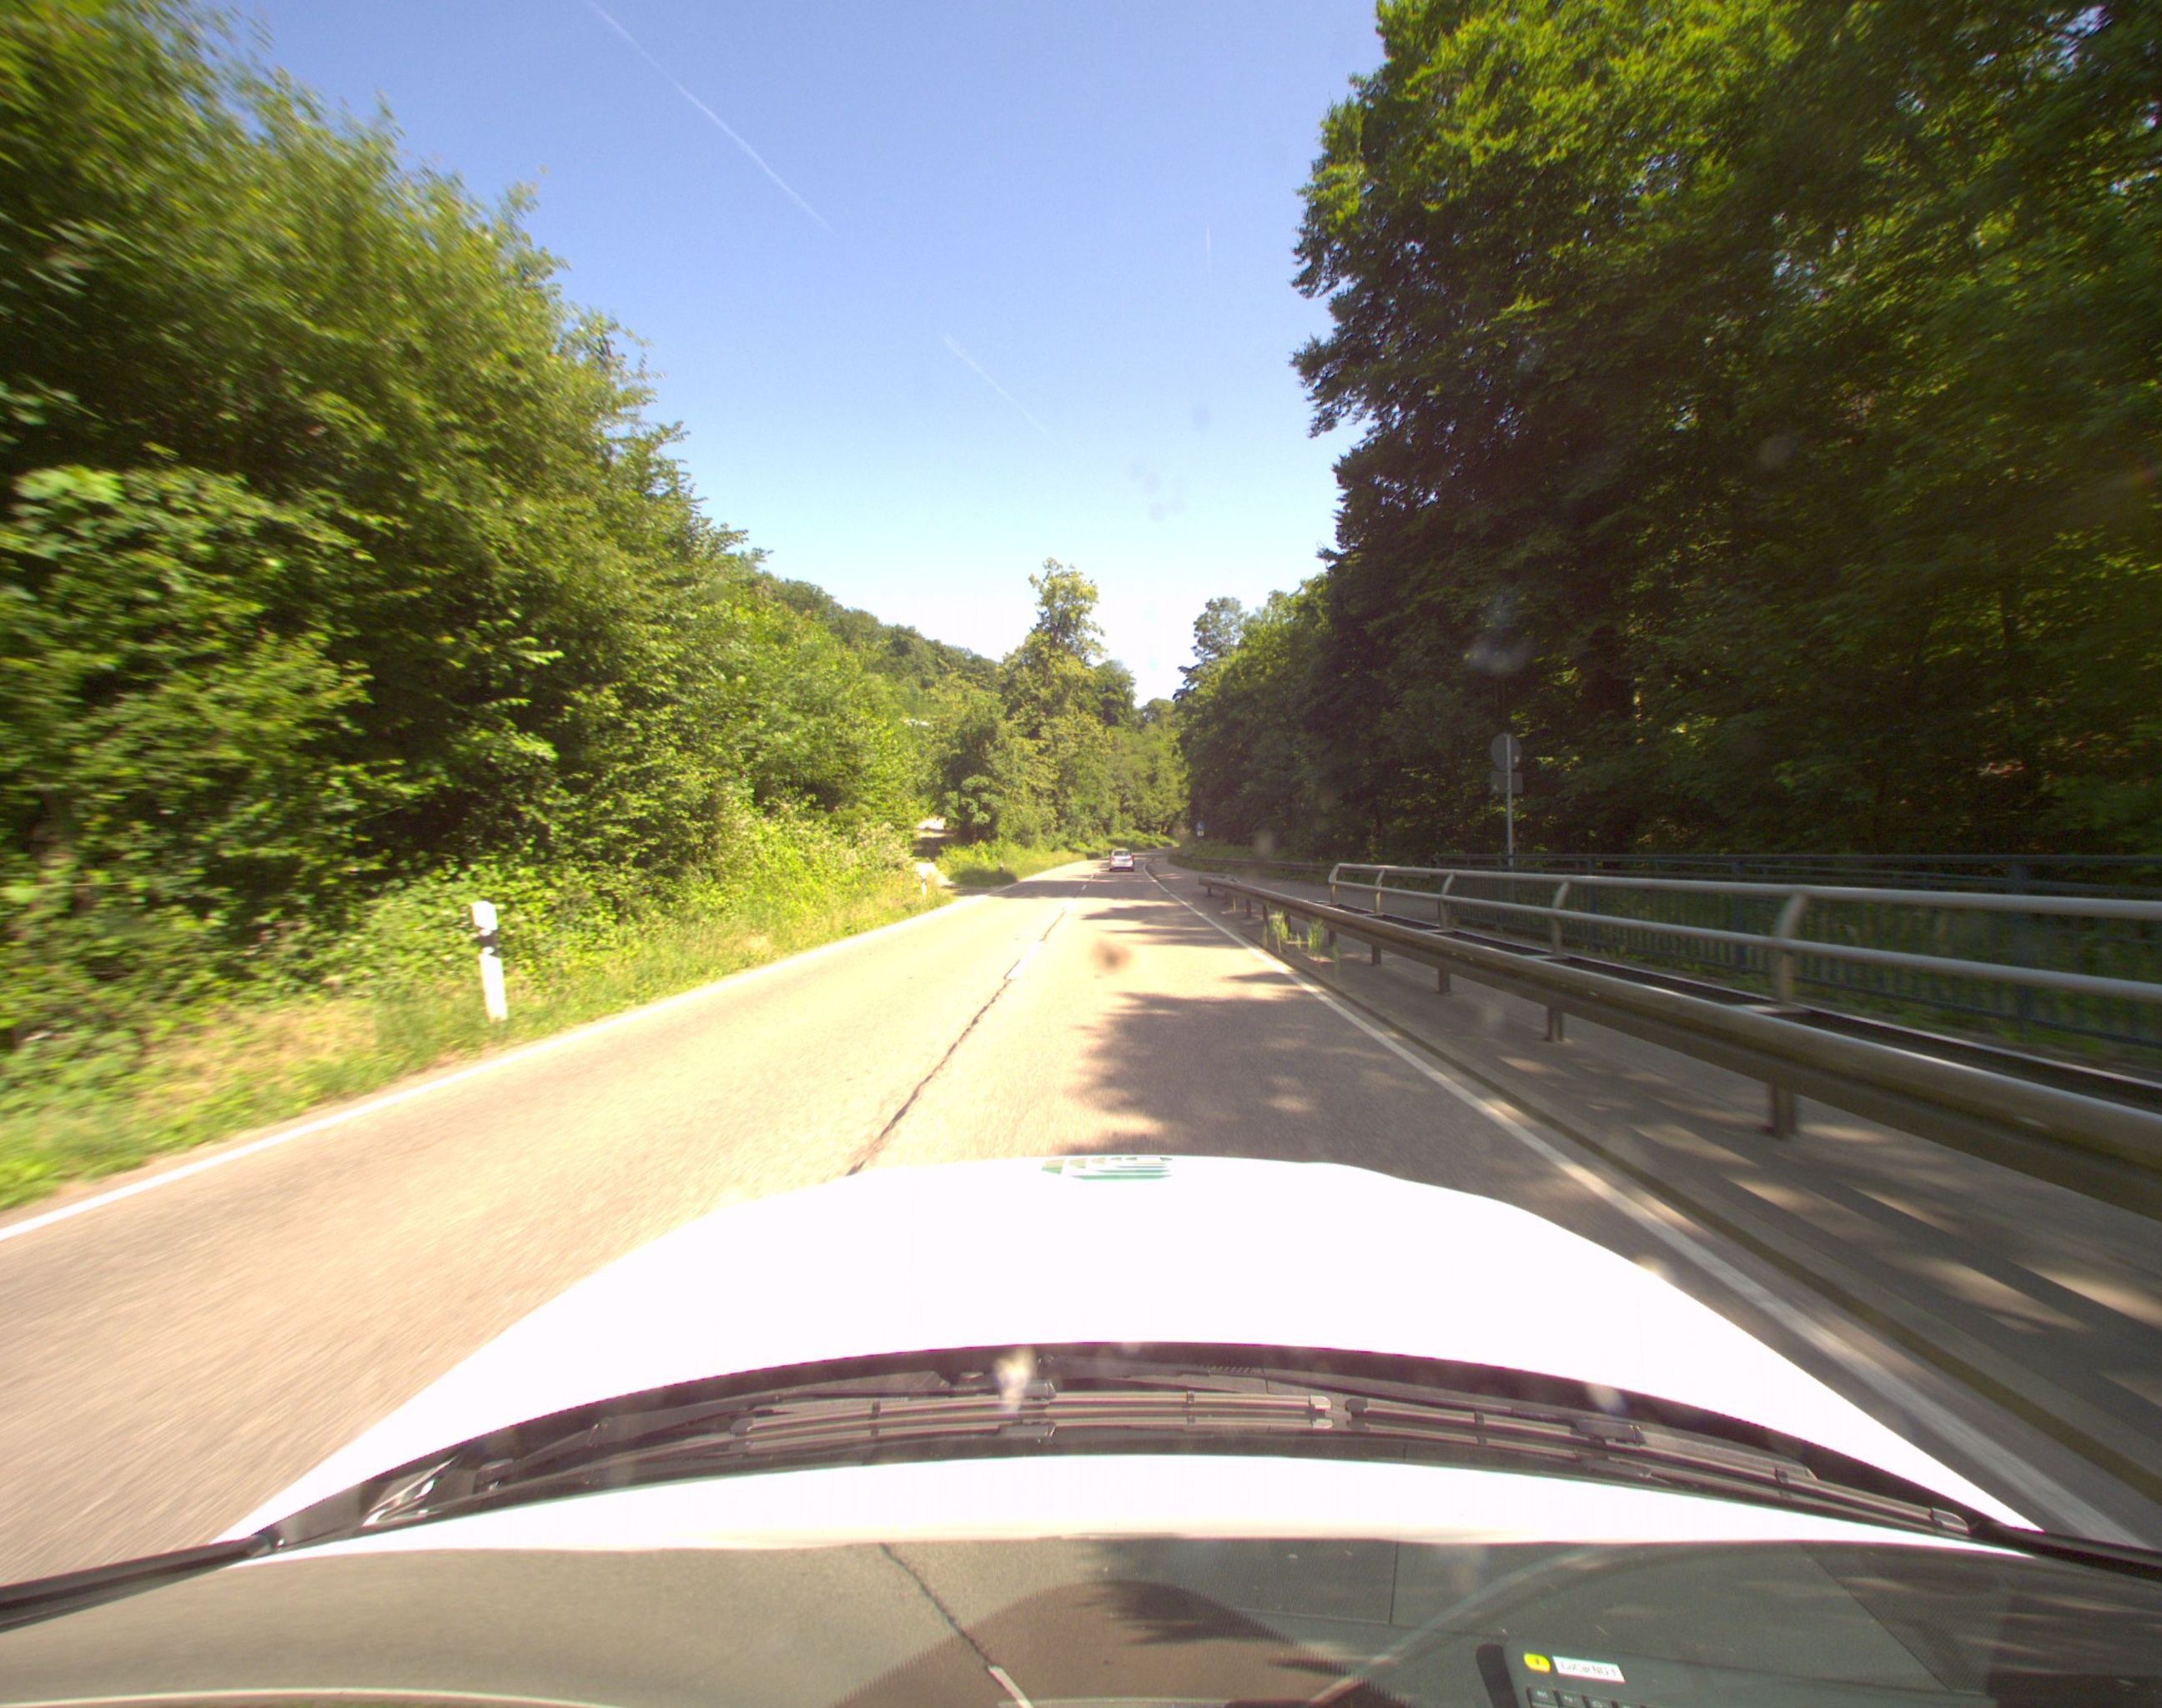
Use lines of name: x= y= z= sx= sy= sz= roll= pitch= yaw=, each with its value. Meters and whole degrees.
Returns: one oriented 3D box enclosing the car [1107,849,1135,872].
car: x=2.874 y=0.409 z=57.468 sx=1.742 sy=1.520 sz=4.166 roll=0 pitch=1 yaw=6
